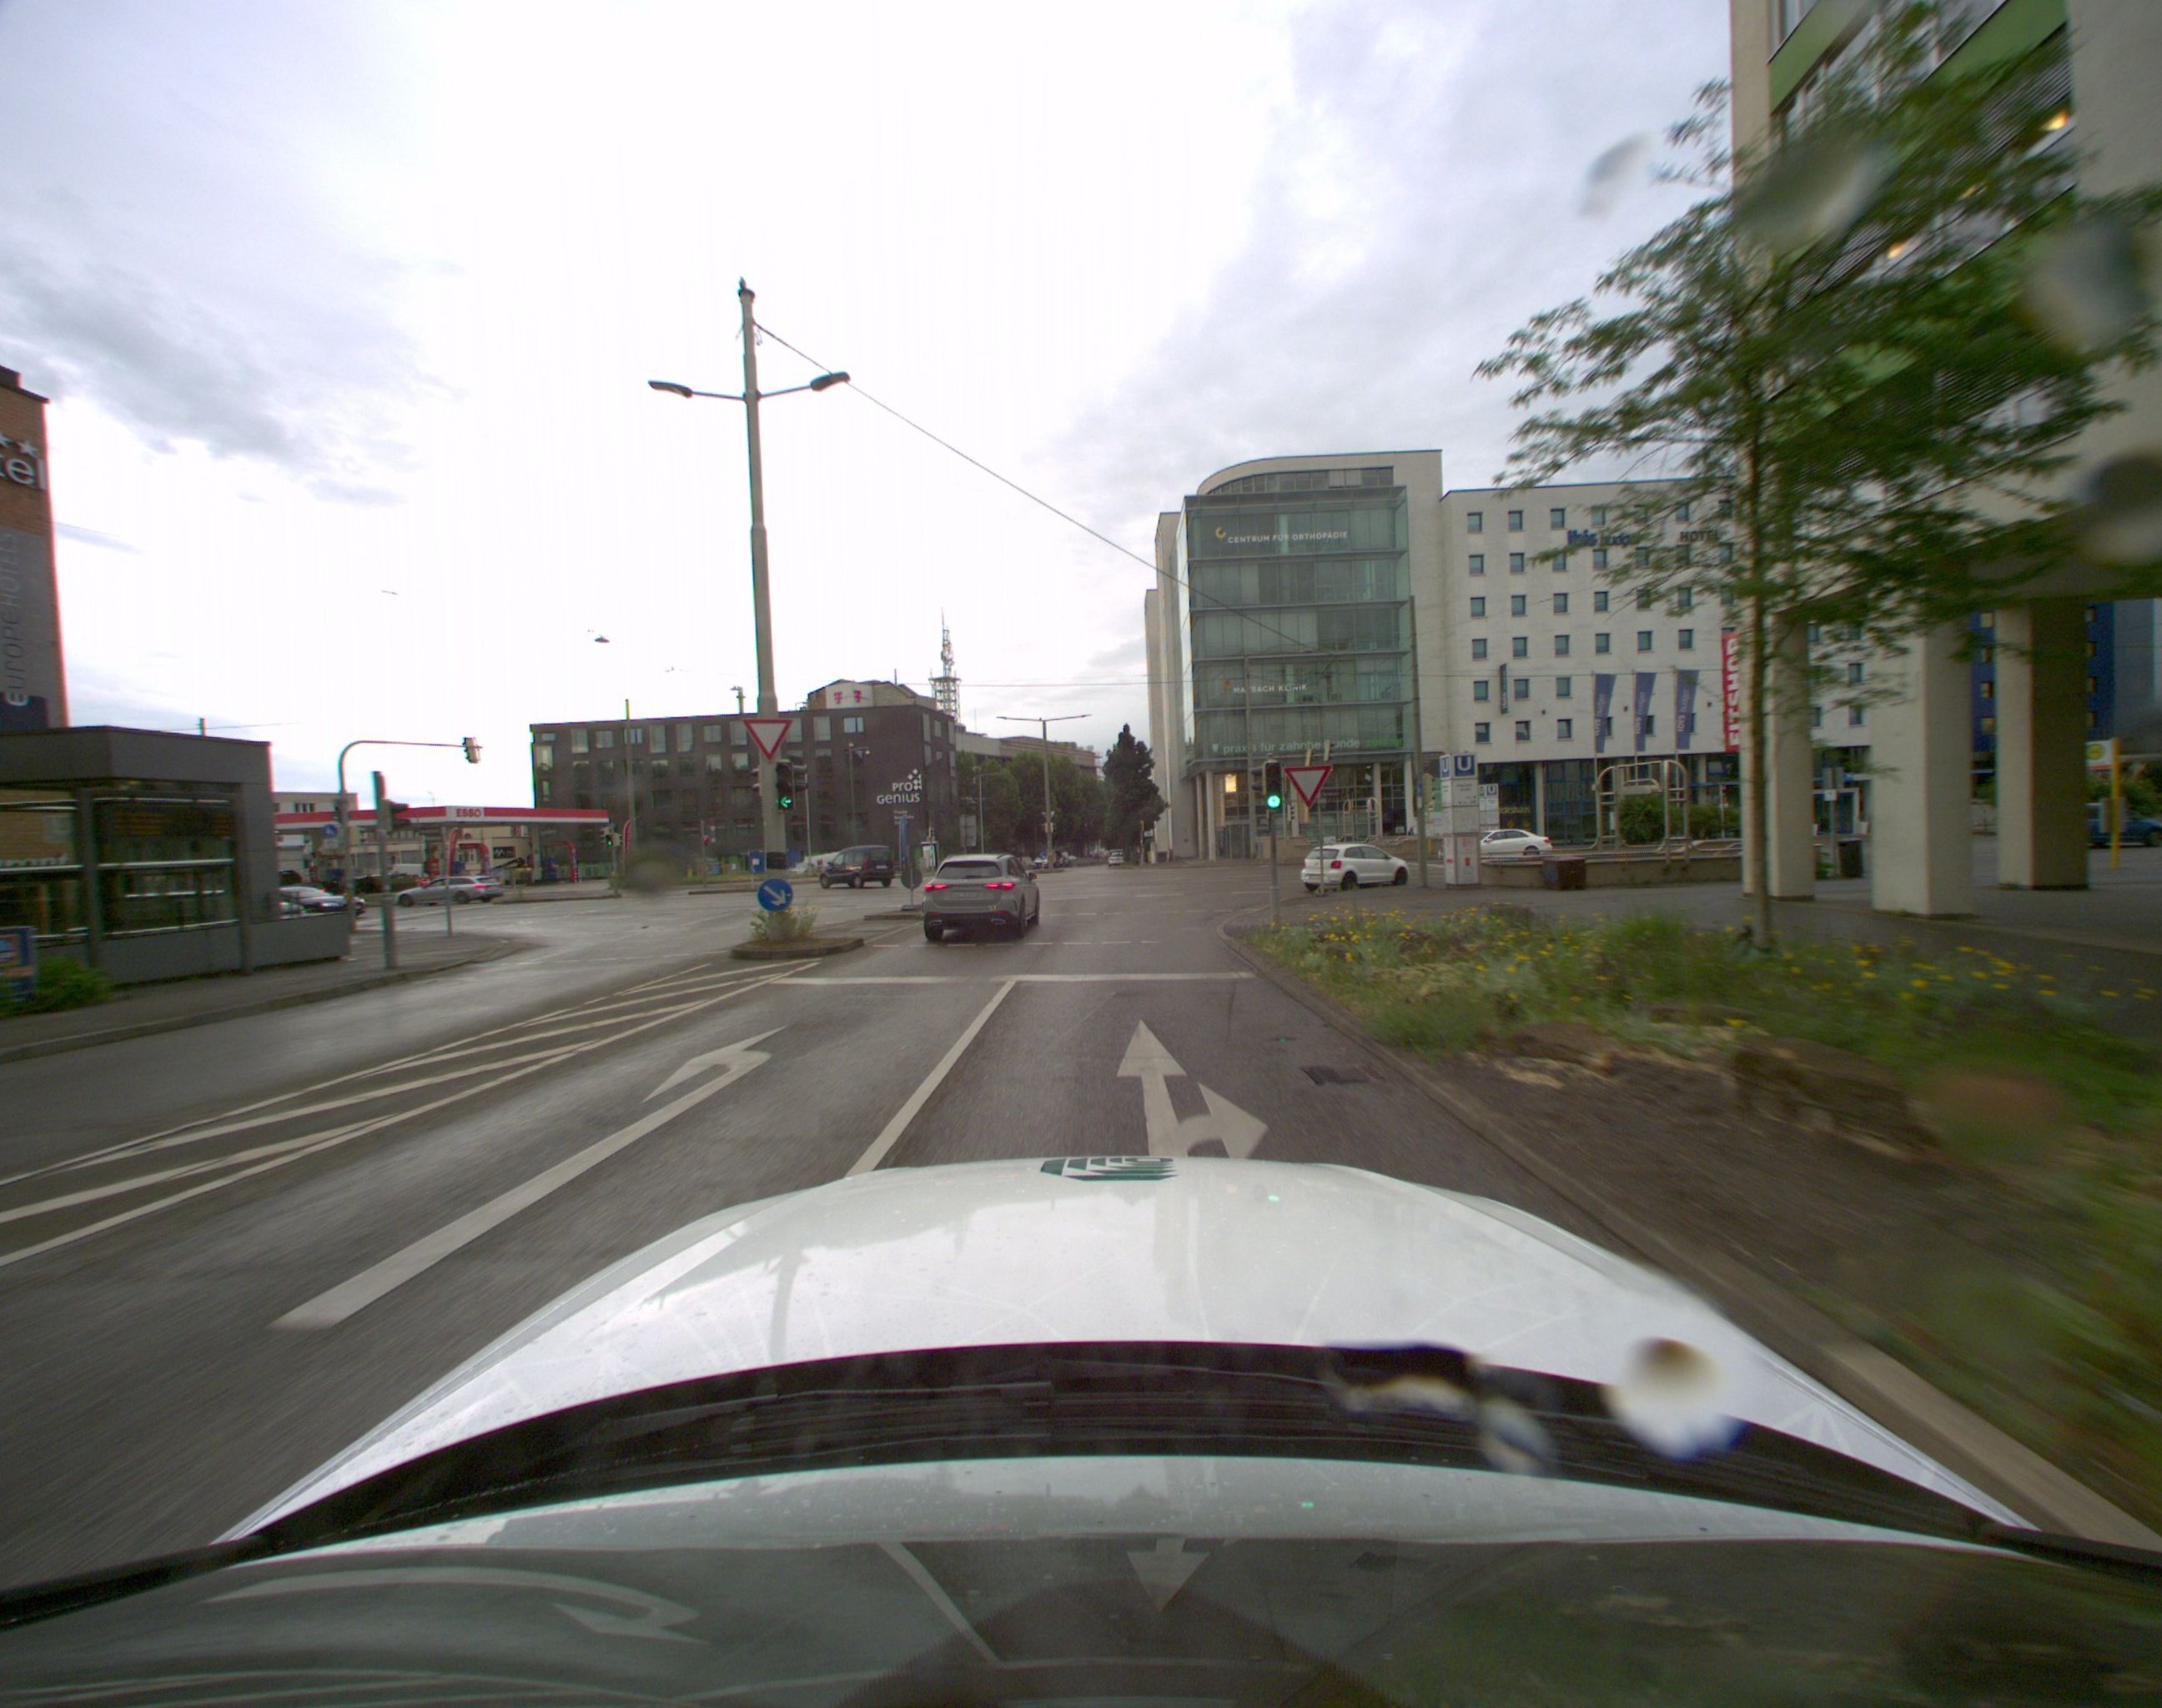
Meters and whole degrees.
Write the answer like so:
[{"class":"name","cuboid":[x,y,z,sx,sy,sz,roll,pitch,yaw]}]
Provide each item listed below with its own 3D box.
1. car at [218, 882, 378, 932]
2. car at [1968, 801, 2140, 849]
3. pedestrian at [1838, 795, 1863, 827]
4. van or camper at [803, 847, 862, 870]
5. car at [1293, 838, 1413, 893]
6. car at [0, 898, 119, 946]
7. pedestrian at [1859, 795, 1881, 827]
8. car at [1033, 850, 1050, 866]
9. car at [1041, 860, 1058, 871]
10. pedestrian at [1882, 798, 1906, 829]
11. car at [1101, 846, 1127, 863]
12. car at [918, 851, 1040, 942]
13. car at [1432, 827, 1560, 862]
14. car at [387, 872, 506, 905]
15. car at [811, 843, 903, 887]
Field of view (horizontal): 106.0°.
[{"class":"car","cuboid":[-30.534,2.035,31.850,4.233,1.525,1.966,-3,3,1]},{"class":"car","cuboid":[36.181,-1.062,30.362,3.972,1.573,2.001,-2,2,2]},{"class":"pedestrian","cuboid":[50.778,-2.822,53.742,0.809,2.014,0.805,0,-1,3]},{"class":"van or camper","cuboid":[-26.099,0.505,85.617,5.310,2.369,2.740,0,-1,1]},{"class":"car","cuboid":[8.732,0.322,26.060,3.795,1.473,1.659,-4,3,-34]},{"class":"car","cuboid":[-36.735,2.404,28.551,4.057,1.400,1.700,-3,2,3]},{"class":"pedestrian","cuboid":[52.076,-2.832,53.766,0.806,2.014,0.808,0,-1,-26]},{"class":"car","cuboid":[-5.275,0.519,108.655,1.986,2.014,4.001,0,0,2]},{"class":"car","cuboid":[-4.372,1.583,114.204,1.670,1.594,3.865,-1,0,8]},{"class":"pedestrian","cuboid":[53.531,-2.663,53.626,0.889,2.014,0.820,-1,-1,31]},{"class":"car","cuboid":[3.320,0.078,83.032,1.992,1.717,3.989,0,0,-8]},{"class":"car","cuboid":[-1.958,0.777,16.905,1.901,1.632,4.211,-1,0,1]},{"class":"car","cuboid":[18.890,-0.438,37.225,4.930,1.387,1.823,-2,1,0]},{"class":"car","cuboid":[-32.703,1.771,42.059,4.466,1.579,1.998,-1,-1,-3]},{"class":"car","cuboid":[-10.030,0.510,36.350,4.078,1.768,1.870,-2,0,40]}]
